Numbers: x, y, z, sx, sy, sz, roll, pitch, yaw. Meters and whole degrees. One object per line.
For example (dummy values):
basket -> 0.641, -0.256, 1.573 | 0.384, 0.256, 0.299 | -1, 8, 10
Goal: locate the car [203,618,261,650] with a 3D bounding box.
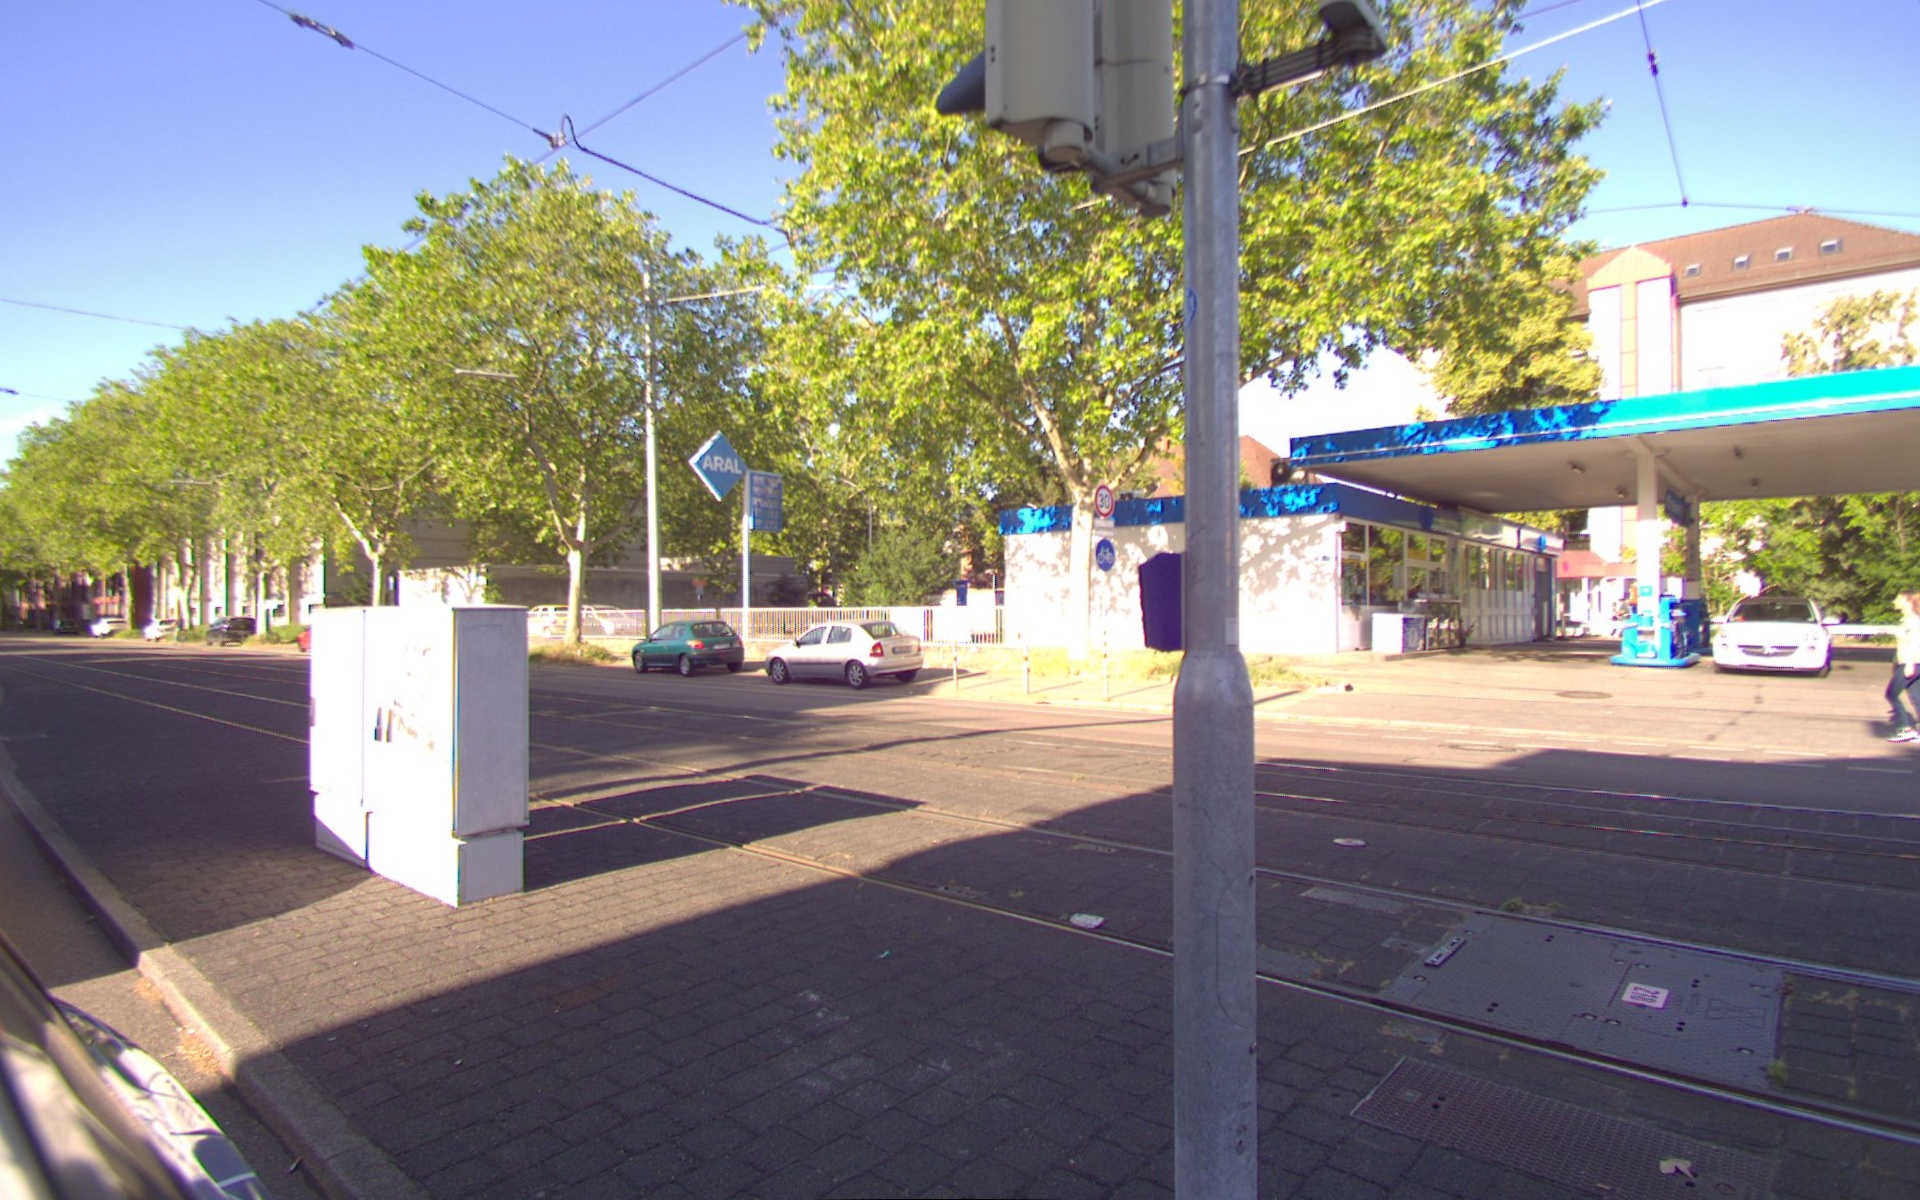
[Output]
car -> -40.650, 1.885, 56.487 | 4.098, 1.628, 1.821 | -1, 1, 44

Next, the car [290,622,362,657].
car -> -28.959, 1.773, 46.185 | 4.001, 1.418, 1.821 | -1, 1, 44

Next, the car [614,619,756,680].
car -> -7.425, 1.275, 27.138 | 4.138, 1.418, 1.820 | -1, 1, 45

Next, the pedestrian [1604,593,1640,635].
pedestrian -> 29.615, 0.645, 45.286 | 1.178, 1.842, 1.045 | -1, -2, 41

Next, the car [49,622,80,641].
car -> -85.031, 2.946, 96.110 | 4.098, 1.686, 1.821 | -1, 1, 44

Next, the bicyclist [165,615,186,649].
bicyclist -> -43.991, 1.810, 56.735 | 1.070, 1.878, 0.711 | -1, -2, 41

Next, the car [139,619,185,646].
car -> -53.833, 2.160, 68.212 | 4.098, 1.686, 1.821 | -1, 1, 44

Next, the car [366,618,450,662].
car -> -21.960, 1.540, 40.191 | 4.002, 1.545, 1.820 | -1, 1, 45

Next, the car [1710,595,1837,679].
car -> 16.018, 0.684, 19.883 | 1.780, 1.475, 3.946 | -1, -1, 40

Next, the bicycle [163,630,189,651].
bicycle -> -43.932, 2.266, 56.702 | 2.532, 1.129, 0.645 | -1, -1, 41

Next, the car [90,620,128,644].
car -> -66.936, 2.488, 79.585 | 4.098, 1.686, 1.821 | -1, 1, 44

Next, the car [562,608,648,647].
car -> -15.388, 1.171, 43.776 | 3.999, 1.545, 1.822 | -1, 1, 42

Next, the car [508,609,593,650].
car -> -17.129, 1.194, 42.284 | 4.002, 1.545, 1.820 | -1, 1, 45

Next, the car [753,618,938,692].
car -> -2.618, 1.177, 22.648 | 3.997, 1.418, 1.823 | -1, 1, 40

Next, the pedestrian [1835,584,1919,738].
pedestrian -> 10.338, 0.666, 11.075 | 1.105, 1.632, 0.706 | -2, -5, 40
